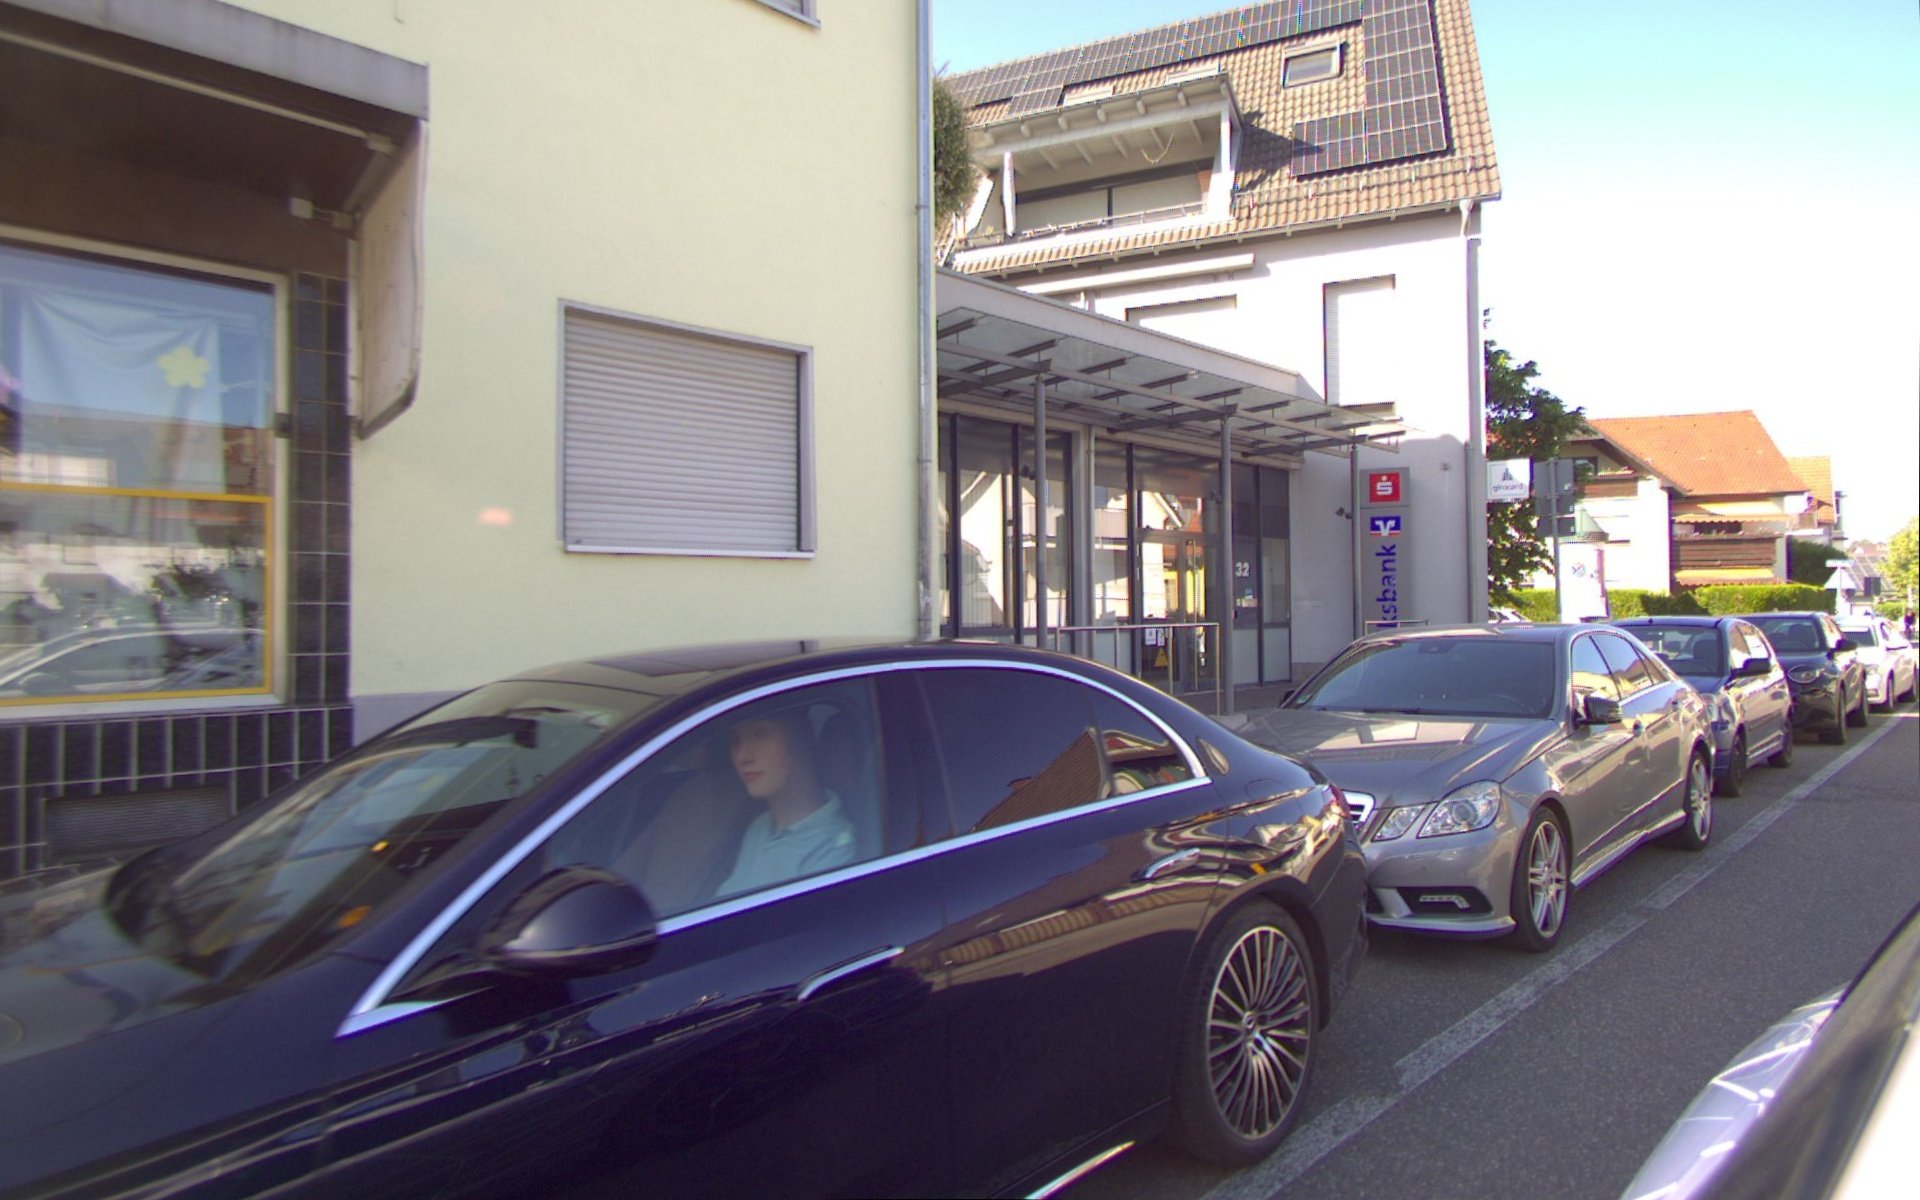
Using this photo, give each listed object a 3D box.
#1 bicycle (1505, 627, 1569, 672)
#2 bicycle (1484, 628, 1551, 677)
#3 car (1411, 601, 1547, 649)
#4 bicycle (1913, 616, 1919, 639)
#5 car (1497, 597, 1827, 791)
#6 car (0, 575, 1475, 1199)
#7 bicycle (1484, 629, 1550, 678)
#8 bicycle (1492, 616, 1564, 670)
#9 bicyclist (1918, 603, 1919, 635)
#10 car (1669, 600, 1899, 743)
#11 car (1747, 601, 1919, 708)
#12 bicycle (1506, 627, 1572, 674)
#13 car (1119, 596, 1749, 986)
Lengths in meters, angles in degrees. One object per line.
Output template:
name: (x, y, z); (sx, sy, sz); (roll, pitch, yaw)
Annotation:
bicycle: (12.473, 1.058, 21.911); (0.308, 0.932, 1.163); (1, -1, -44)
bicycle: (11.126, 1.034, 20.223); (0.307, 0.932, 1.166); (1, -1, -34)
car: (18.957, 0.856, 36.989); (4.274, 1.613, 1.793); (0, 1, 34)
bicycle: (50.554, 1.419, 53.126); (1.988, 1.197, 0.638); (1, -2, -44)
car: (6.838, 0.762, 9.717); (3.808, 1.494, 1.727); (0, -3, -42)
car: (-0.651, 0.759, 2.582); (4.759, 1.494, 1.811); (0, -3, -41)
bicycle: (11.340, 1.075, 20.641); (0.307, 0.932, 1.166); (1, -1, -34)
bicycle: (10.808, 0.800, 19.283); (0.314, 0.988, 1.227); (1, -1, -28)
bicyclist: (50.871, 1.020, 53.242); (0.595, 1.686, 0.642); (1, -2, -43)
car: (10.512, 0.809, 12.819); (3.902, 1.540, 1.612); (0, -3, -42)
car: (14.705, 0.816, 16.674); (4.426, 1.533, 1.849); (1, -1, -40)
bicycle: (12.209, 1.055, 21.366); (0.308, 0.932, 1.163); (1, -1, -44)
car: (3.065, 0.776, 6.044); (4.367, 1.494, 1.810); (0, -3, -42)
